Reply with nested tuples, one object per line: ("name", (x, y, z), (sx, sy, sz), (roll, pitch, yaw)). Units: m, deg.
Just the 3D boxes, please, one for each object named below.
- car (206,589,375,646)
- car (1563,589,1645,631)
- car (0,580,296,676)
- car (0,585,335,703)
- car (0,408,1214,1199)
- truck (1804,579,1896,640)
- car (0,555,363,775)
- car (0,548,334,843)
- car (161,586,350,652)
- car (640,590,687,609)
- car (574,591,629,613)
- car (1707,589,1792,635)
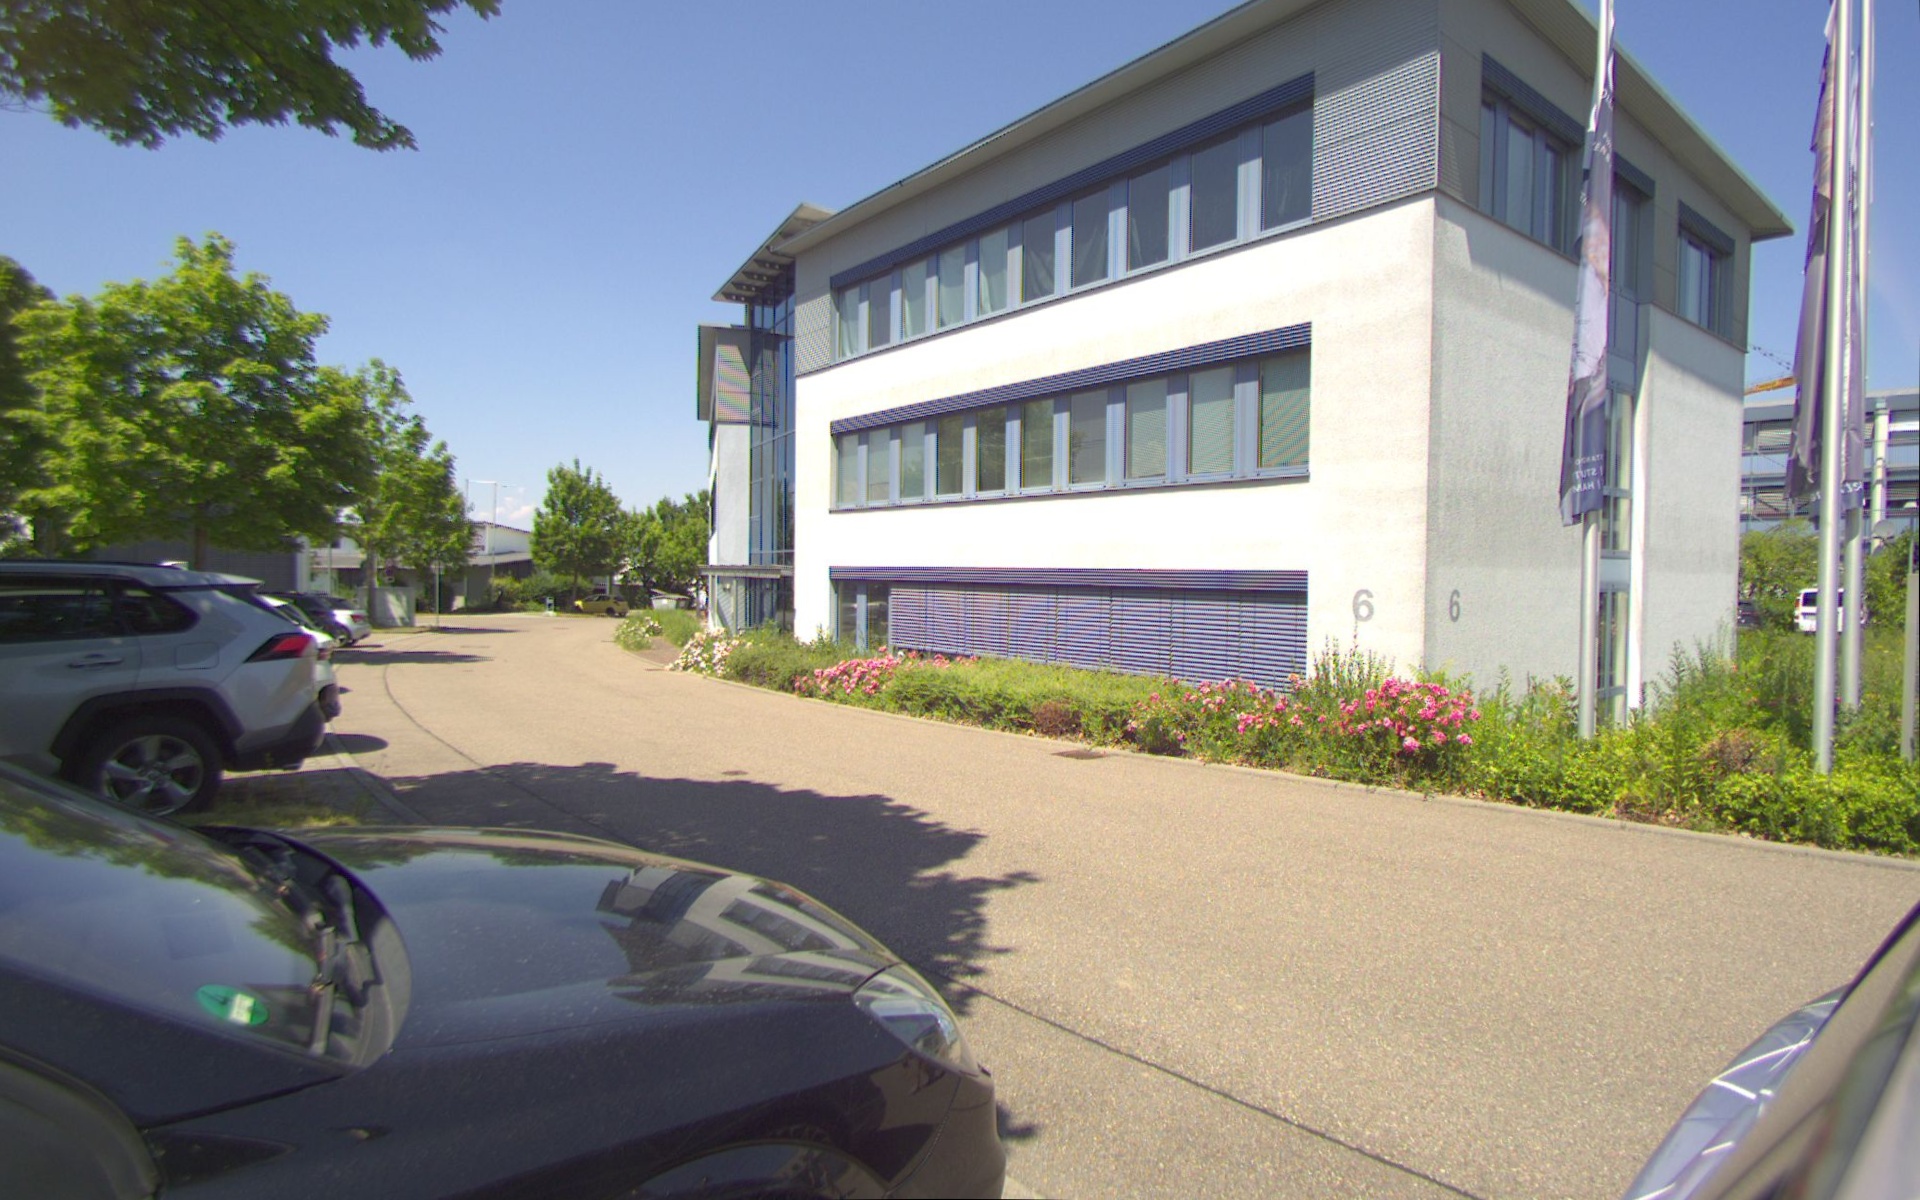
("car", (-17.910, 0.463, 27.264), (3.514, 1.461, 1.639), (1, -1, -22))
("car", (25.706, 0.364, 40.353), (3.931, 1.565, 1.785), (-1, 1, -42))
("car", (-14.837, 0.500, 18.674), (4.092, 1.625, 1.663), (1, -1, -26))
("car", (-11.389, 0.586, 14.513), (4.096, 1.505, 1.661), (1, -1, -33))
("car", (-1.781, 0.640, 0.975), (4.487, 1.569, 1.760), (0, 0, -42))
("truck", (30.098, 0.287, 34.203), (3.933, 1.917, 1.995), (-1, 0, -43))
("car", (-7.535, 0.490, 8.495), (4.128, 1.664, 1.658), (1, -1, -40))
("car", (-6.403, 0.526, 6.084), (4.255, 1.664, 1.855), (1, -1, -40))
("car", (-17.252, 0.463, 24.965), (3.514, 1.545, 1.639), (1, -1, -22))
("car", (-23.398, -0.034, 79.854), (3.166, 1.460, 1.584), (0, 0, 13))
("car", (-24.230, 0.104, 68.445), (3.166, 1.460, 1.584), (0, 0, 13))
("car", (28.726, 0.387, 36.790), (3.931, 1.565, 1.785), (-1, 1, -42))
